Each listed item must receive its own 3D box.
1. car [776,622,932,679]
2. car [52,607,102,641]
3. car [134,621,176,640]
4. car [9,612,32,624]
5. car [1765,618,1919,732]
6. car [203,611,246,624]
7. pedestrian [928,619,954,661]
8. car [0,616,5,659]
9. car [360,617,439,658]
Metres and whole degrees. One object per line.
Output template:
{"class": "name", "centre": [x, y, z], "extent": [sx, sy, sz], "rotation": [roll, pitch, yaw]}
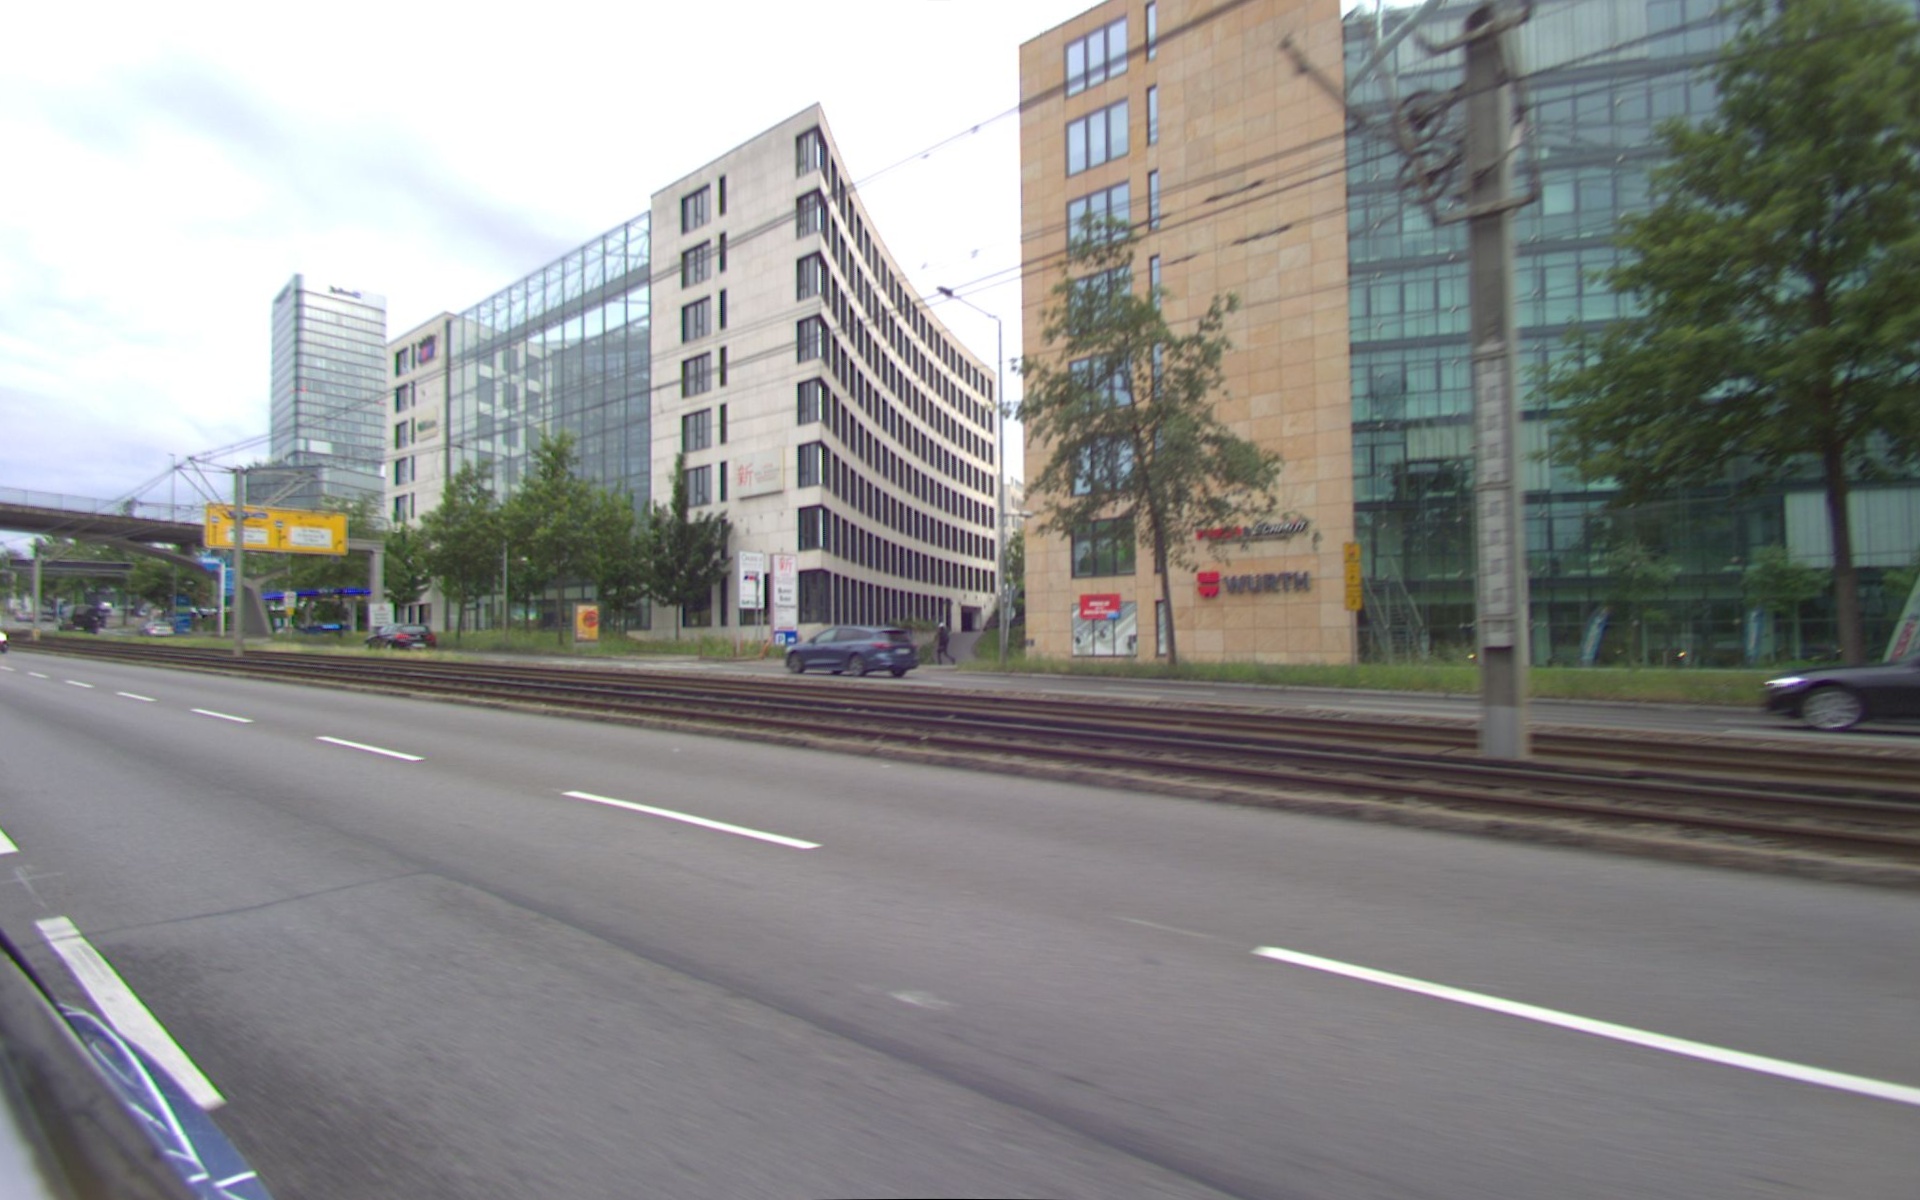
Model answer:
{"class": "car", "centre": [-3.135, 1.455, 29.338], "extent": [4.651, 1.497, 1.821], "rotation": [-2, -5, 41]}
{"class": "car", "centre": [-77.329, 2.086, 88.611], "extent": [5.605, 2.839, 2.360], "rotation": [-1, 0, 39]}
{"class": "car", "centre": [-67.703, 2.559, 85.084], "extent": [4.812, 1.545, 1.742], "rotation": [-1, 0, 40]}
{"class": "car", "centre": [-130.182, 2.534, 140.252], "extent": [4.271, 1.545, 1.792], "rotation": [-1, 0, 40]}
{"class": "car", "centre": [13.777, 1.021, 13.518], "extent": [4.651, 1.497, 1.821], "rotation": [-2, -5, 41]}
{"class": "car", "centre": [-97.348, 2.292, 133.935], "extent": [1.885, 1.515, 4.306], "rotation": [1, 1, 43]}
{"class": "pedestrian", "centre": [-0.746, 1.586, 40.370], "extent": [0.831, 1.643, 0.635], "rotation": [1, 1, 38]}
{"class": "car", "centre": [-45.309, 1.694, 46.451], "extent": [4.376, 1.882, 1.771], "rotation": [1, 1, 42]}
{"class": "car", "centre": [-24.093, 1.575, 43.430], "extent": [4.200, 1.513, 1.753], "rotation": [1, 1, 43]}
